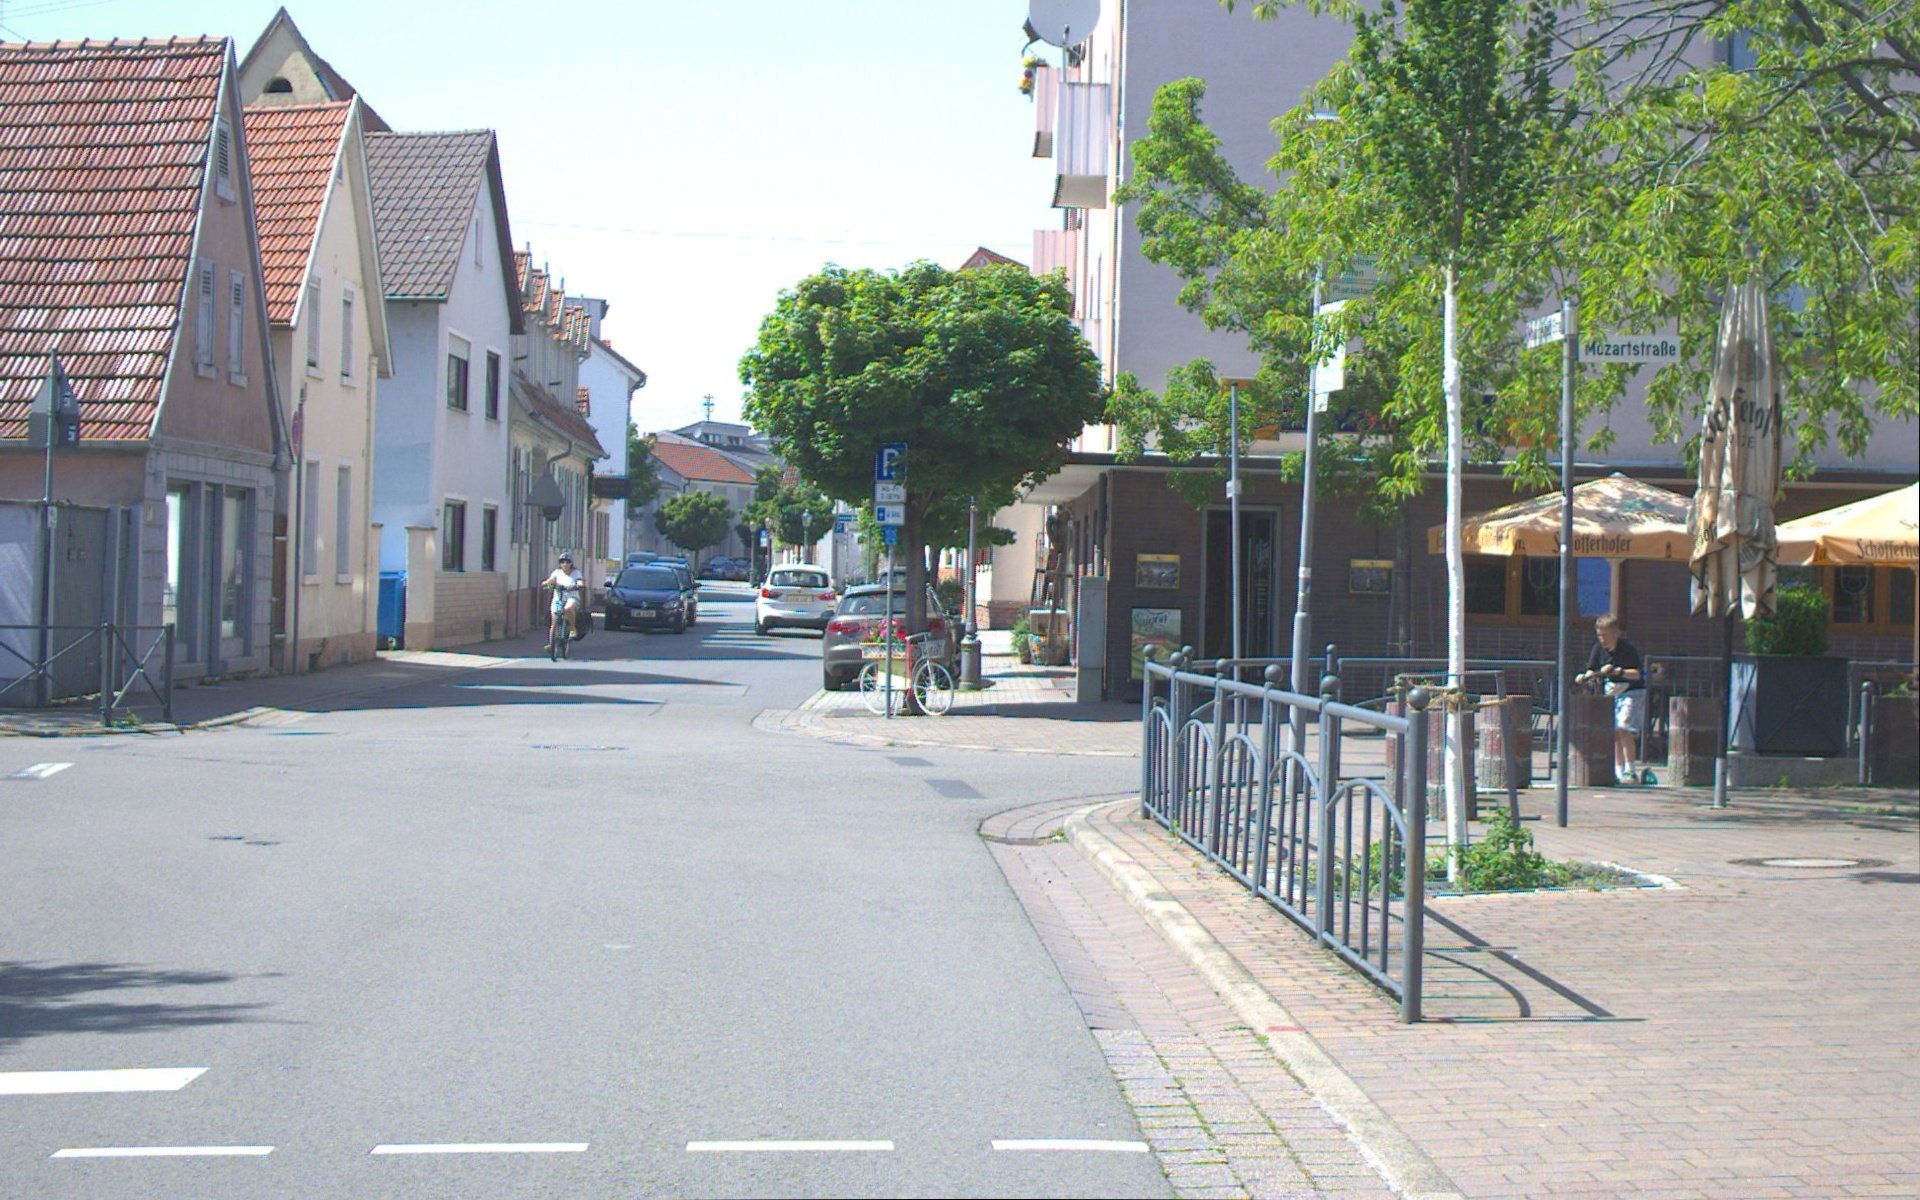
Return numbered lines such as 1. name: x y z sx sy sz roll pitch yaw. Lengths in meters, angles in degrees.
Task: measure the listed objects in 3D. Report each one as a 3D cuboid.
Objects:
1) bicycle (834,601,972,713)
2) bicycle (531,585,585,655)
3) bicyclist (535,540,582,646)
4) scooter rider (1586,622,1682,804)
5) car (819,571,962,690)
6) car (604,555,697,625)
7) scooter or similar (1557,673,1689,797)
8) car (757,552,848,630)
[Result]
1. bicycle: -0.648 0.633 38.619 0.525 1.189 1.674 1 0 -44
2. bicycle: -6.484 0.316 55.480 0.674 1.090 1.896 0 0 -1
3. bicyclist: -6.475 -0.118 55.478 0.669 1.685 0.761 0 0 -1
4. scooter rider: 4.874 0.812 24.865 0.416 1.281 0.518 1 0 -31
5. car: -0.920 0.391 47.391 1.805 1.496 4.000 1 1 1
6. car: -7.022 -0.230 78.196 1.714 1.512 3.786 1 0 0
7. scooter or similar: 4.792 0.972 24.855 0.887 0.870 0.380 1 0 -30
8. car: -3.515 -0.213 77.365 1.834 1.646 4.000 1 0 0
